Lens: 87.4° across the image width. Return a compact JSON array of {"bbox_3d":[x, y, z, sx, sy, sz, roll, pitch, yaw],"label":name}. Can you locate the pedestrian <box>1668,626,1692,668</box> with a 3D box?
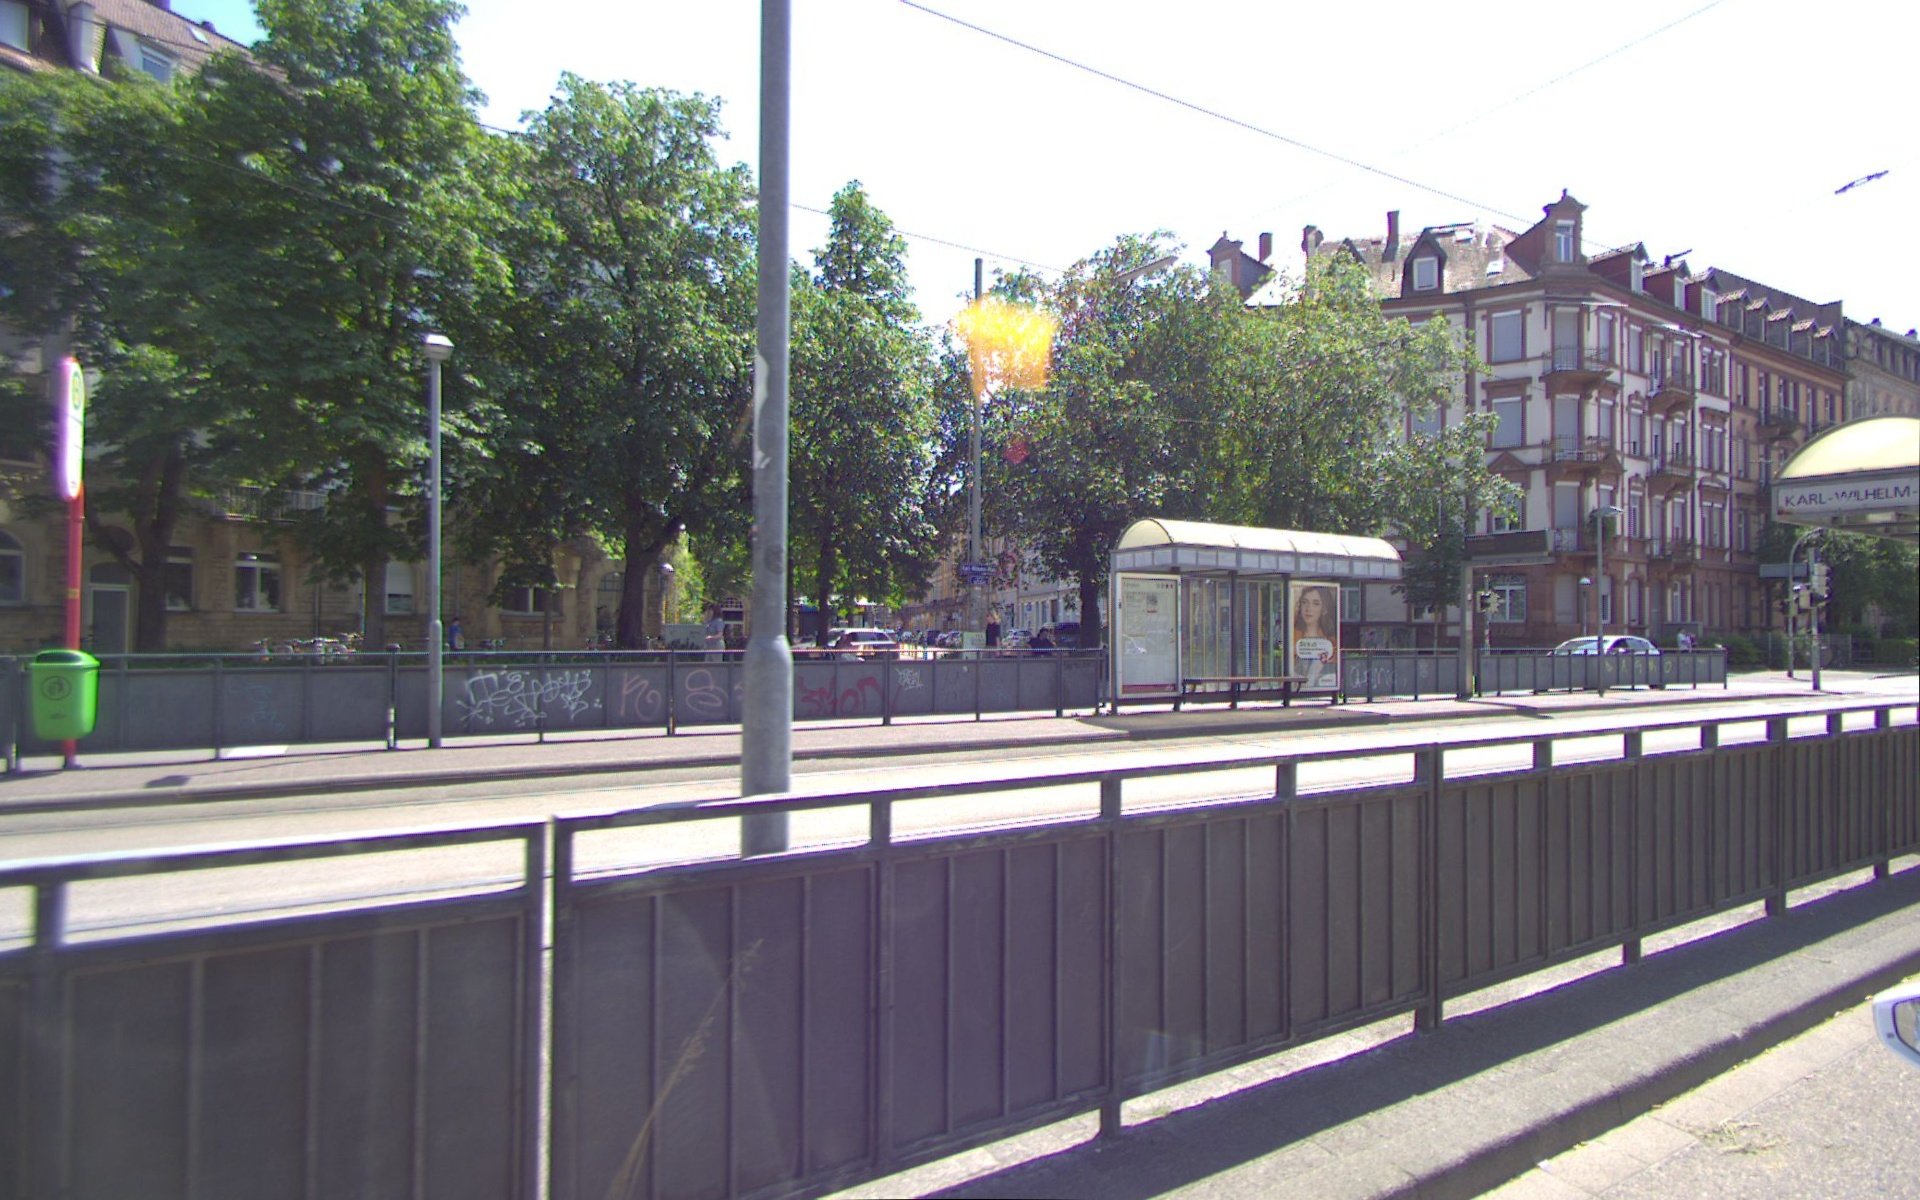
[{"bbox_3d":[28.335,1.840,39.533,0.640,1.637,0.469,1,2,16],"label":"pedestrian"}]

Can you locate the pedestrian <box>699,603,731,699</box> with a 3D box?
[{"bbox_3d":[-4.940,1.027,20.277,0.487,1.904,0.508,1,-1,-27],"label":"pedestrian"}]

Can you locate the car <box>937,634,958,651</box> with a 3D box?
[{"bbox_3d":[-1.223,4.039,96.052,1.513,1.461,3.737,1,-1,-7],"label":"car"}]

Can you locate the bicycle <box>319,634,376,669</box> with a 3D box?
[{"bbox_3d":[-17.376,1.456,28.505,1.460,0.969,0.409,1,-1,11],"label":"bicycle"}]

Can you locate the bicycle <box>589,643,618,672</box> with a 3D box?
[{"bbox_3d":[-12.373,1.983,34.839,0.406,0.969,1.472,2,-2,-42],"label":"bicycle"}]

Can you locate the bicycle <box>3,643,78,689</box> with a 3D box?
[{"bbox_3d":[-20.696,1.487,22.605,1.639,0.987,0.290,1,-1,11],"label":"bicycle"}]

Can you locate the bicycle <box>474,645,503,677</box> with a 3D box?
[{"bbox_3d":[-15.093,1.946,32.137,0.406,0.969,1.472,2,-2,-42],"label":"bicycle"}]

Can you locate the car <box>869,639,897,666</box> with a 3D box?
[{"bbox_3d":[-4.692,3.167,60.915,1.513,1.461,3.737,1,-1,-7],"label":"car"}]

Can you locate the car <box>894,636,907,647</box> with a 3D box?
[{"bbox_3d":[-8.013,5.632,135.870,1.513,1.461,3.737,1,-1,-7],"label":"car"}]

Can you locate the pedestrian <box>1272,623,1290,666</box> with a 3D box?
[{"bbox_3d":[13.948,1.941,43.656,0.555,1.849,0.633,0,-1,36],"label":"pedestrian"}]

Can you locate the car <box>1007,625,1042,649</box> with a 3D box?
[{"bbox_3d":[4.489,2.594,70.166,1.727,1.639,3.996,0,-2,-7],"label":"car"}]

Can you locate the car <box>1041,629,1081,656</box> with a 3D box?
[{"bbox_3d":[5.882,2.469,58.991,1.513,1.461,3.737,1,-1,-7],"label":"car"}]

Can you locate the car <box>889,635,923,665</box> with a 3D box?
[{"bbox_3d":[-2.860,2.582,52.699,1.513,1.461,3.737,1,-1,-7],"label":"car"}]

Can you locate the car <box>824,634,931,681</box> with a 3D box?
[{"bbox_3d":[-2.974,2.055,36.295,3.548,1.596,1.569,2,-2,-32],"label":"car"}]

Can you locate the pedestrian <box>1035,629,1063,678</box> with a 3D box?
[{"bbox_3d":[2.395,1.429,26.960,0.606,1.304,0.646,1,-1,18],"label":"pedestrian"}]

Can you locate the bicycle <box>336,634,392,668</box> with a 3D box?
[{"bbox_3d":[-17.269,1.469,29.091,1.460,0.969,0.409,1,-1,10],"label":"bicycle"}]

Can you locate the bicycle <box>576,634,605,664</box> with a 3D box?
[{"bbox_3d":[-12.698,1.667,34.486,0.406,0.969,1.472,2,-2,-42],"label":"bicycle"}]

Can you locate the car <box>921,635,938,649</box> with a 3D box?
[{"bbox_3d":[-3.462,4.697,112.667,1.513,1.461,3.737,1,-1,-7],"label":"car"}]

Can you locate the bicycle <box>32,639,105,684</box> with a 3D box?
[{"bbox_3d":[-20.584,1.419,23.195,1.639,0.987,0.290,1,-1,11],"label":"bicycle"}]

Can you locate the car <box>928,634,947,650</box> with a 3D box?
[{"bbox_3d":[-2.267,4.222,101.162,1.513,1.461,3.737,1,-1,-7],"label":"car"}]

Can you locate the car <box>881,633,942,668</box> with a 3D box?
[{"bbox_3d":[-2.242,2.238,45.277,1.520,1.461,3.720,1,-1,-23],"label":"car"}]

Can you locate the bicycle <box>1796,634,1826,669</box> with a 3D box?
[{"bbox_3d":[35.818,2.159,42.300,0.605,1.414,2.303,0,-1,31],"label":"bicycle"}]

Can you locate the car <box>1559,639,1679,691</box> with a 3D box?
[{"bbox_3d":[18.589,1.809,28.303,3.680,1.356,1.531,2,-2,-34],"label":"car"}]

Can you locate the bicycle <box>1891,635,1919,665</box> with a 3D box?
[{"bbox_3d":[44.065,2.316,46.770,0.583,1.374,2.435,0,-2,31],"label":"bicycle"}]

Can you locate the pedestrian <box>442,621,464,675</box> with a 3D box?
[{"bbox_3d":[-16.959,1.595,33.575,0.617,1.800,0.607,1,-1,-28],"label":"pedestrian"}]

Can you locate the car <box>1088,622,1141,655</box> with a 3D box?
[{"bbox_3d":[7.315,1.818,47.961,1.513,1.461,3.737,1,-1,-7],"label":"car"}]

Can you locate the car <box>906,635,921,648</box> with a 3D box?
[{"bbox_3d":[-5.487,4.846,118.256,1.513,1.461,3.737,1,-1,-7],"label":"car"}]

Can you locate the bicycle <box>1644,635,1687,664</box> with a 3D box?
[{"bbox_3d":[29.409,2.065,41.874,1.489,1.185,0.365,0,0,0],"label":"bicycle"}]

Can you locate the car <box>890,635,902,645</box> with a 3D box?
[{"bbox_3d":[-9.666,6.074,151.443,1.513,1.461,3.737,1,-1,-7],"label":"car"}]

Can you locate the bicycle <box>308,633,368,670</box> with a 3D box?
[{"bbox_3d":[-17.403,1.437,28.122,1.639,0.987,0.290,1,-1,11],"label":"bicycle"}]

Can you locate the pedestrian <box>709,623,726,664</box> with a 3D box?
[{"bbox_3d":[-12.266,2.207,50.859,0.702,2.040,0.814,0,-1,-5],"label":"pedestrian"}]

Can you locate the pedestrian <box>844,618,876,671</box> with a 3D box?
[{"bbox_3d":[-2.420,1.070,24.307,0.539,1.272,0.646,1,-1,18],"label":"pedestrian"}]
